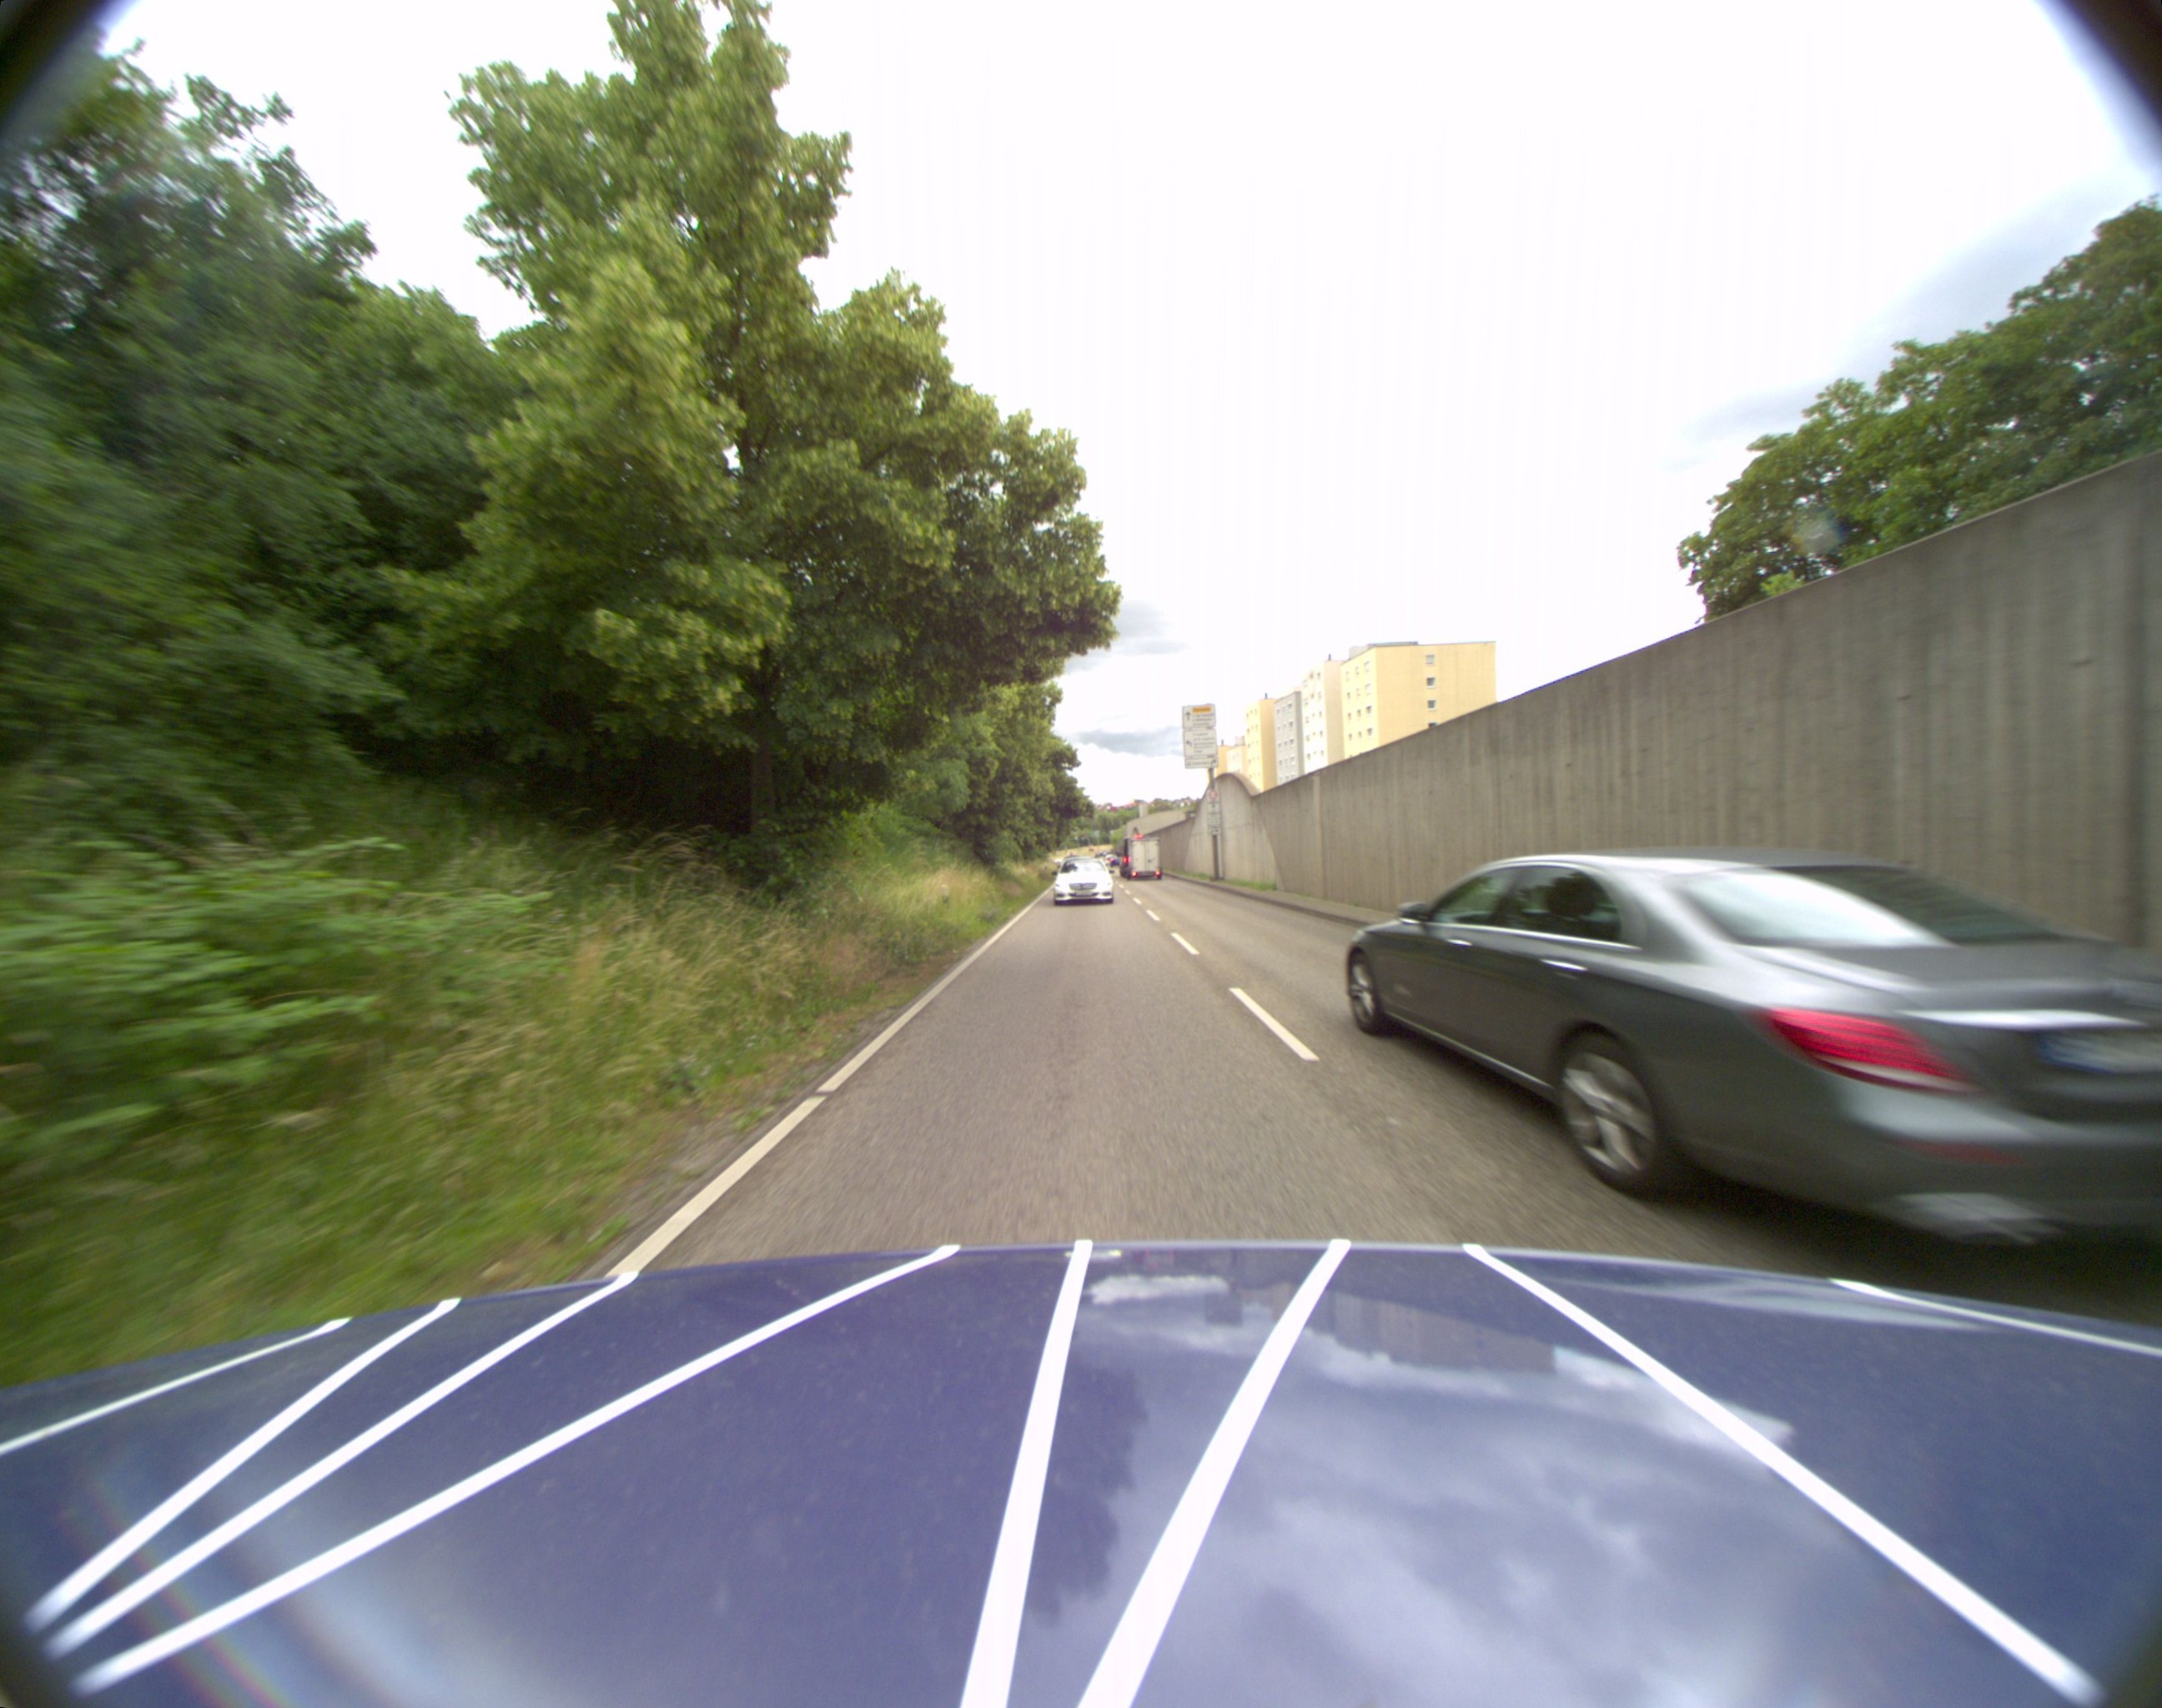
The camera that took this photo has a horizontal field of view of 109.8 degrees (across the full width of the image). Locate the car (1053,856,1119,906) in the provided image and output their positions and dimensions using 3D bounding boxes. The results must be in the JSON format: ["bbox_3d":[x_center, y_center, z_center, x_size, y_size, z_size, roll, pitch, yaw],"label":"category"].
[{"bbox_3d":[0.081,0.821,25.074,1.905,1.471,4.093,-2,0,-3],"label":"car"}]

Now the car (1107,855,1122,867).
[{"bbox_3d":[4.509,0.916,103.451,1.920,1.487,4.208,-3,0,2],"label":"car"}]

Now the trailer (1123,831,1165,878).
[{"bbox_3d":[3.677,0.014,45.196,2.115,2.615,4.371,-2,0,1],"label":"trailer"}]

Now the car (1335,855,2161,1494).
[{"bbox_3d":[3.156,0.785,4.247,1.897,1.475,4.822,-2,0,1],"label":"car"}]

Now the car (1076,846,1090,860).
[{"bbox_3d":[0.297,-0.156,107.010,1.895,1.623,4.424,-3,2,0],"label":"car"}]

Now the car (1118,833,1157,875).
[{"bbox_3d":[3.677,-0.021,51.093,2.115,2.615,7.417,-2,0,1],"label":"car"}]

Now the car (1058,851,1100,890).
[{"bbox_3d":[-0.155,0.740,36.320,1.759,1.532,3.998,-5,2,-2],"label":"car"}]

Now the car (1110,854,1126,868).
[{"bbox_3d":[4.431,0.808,91.293,1.772,1.487,4.208,-3,0,0],"label":"car"}]
